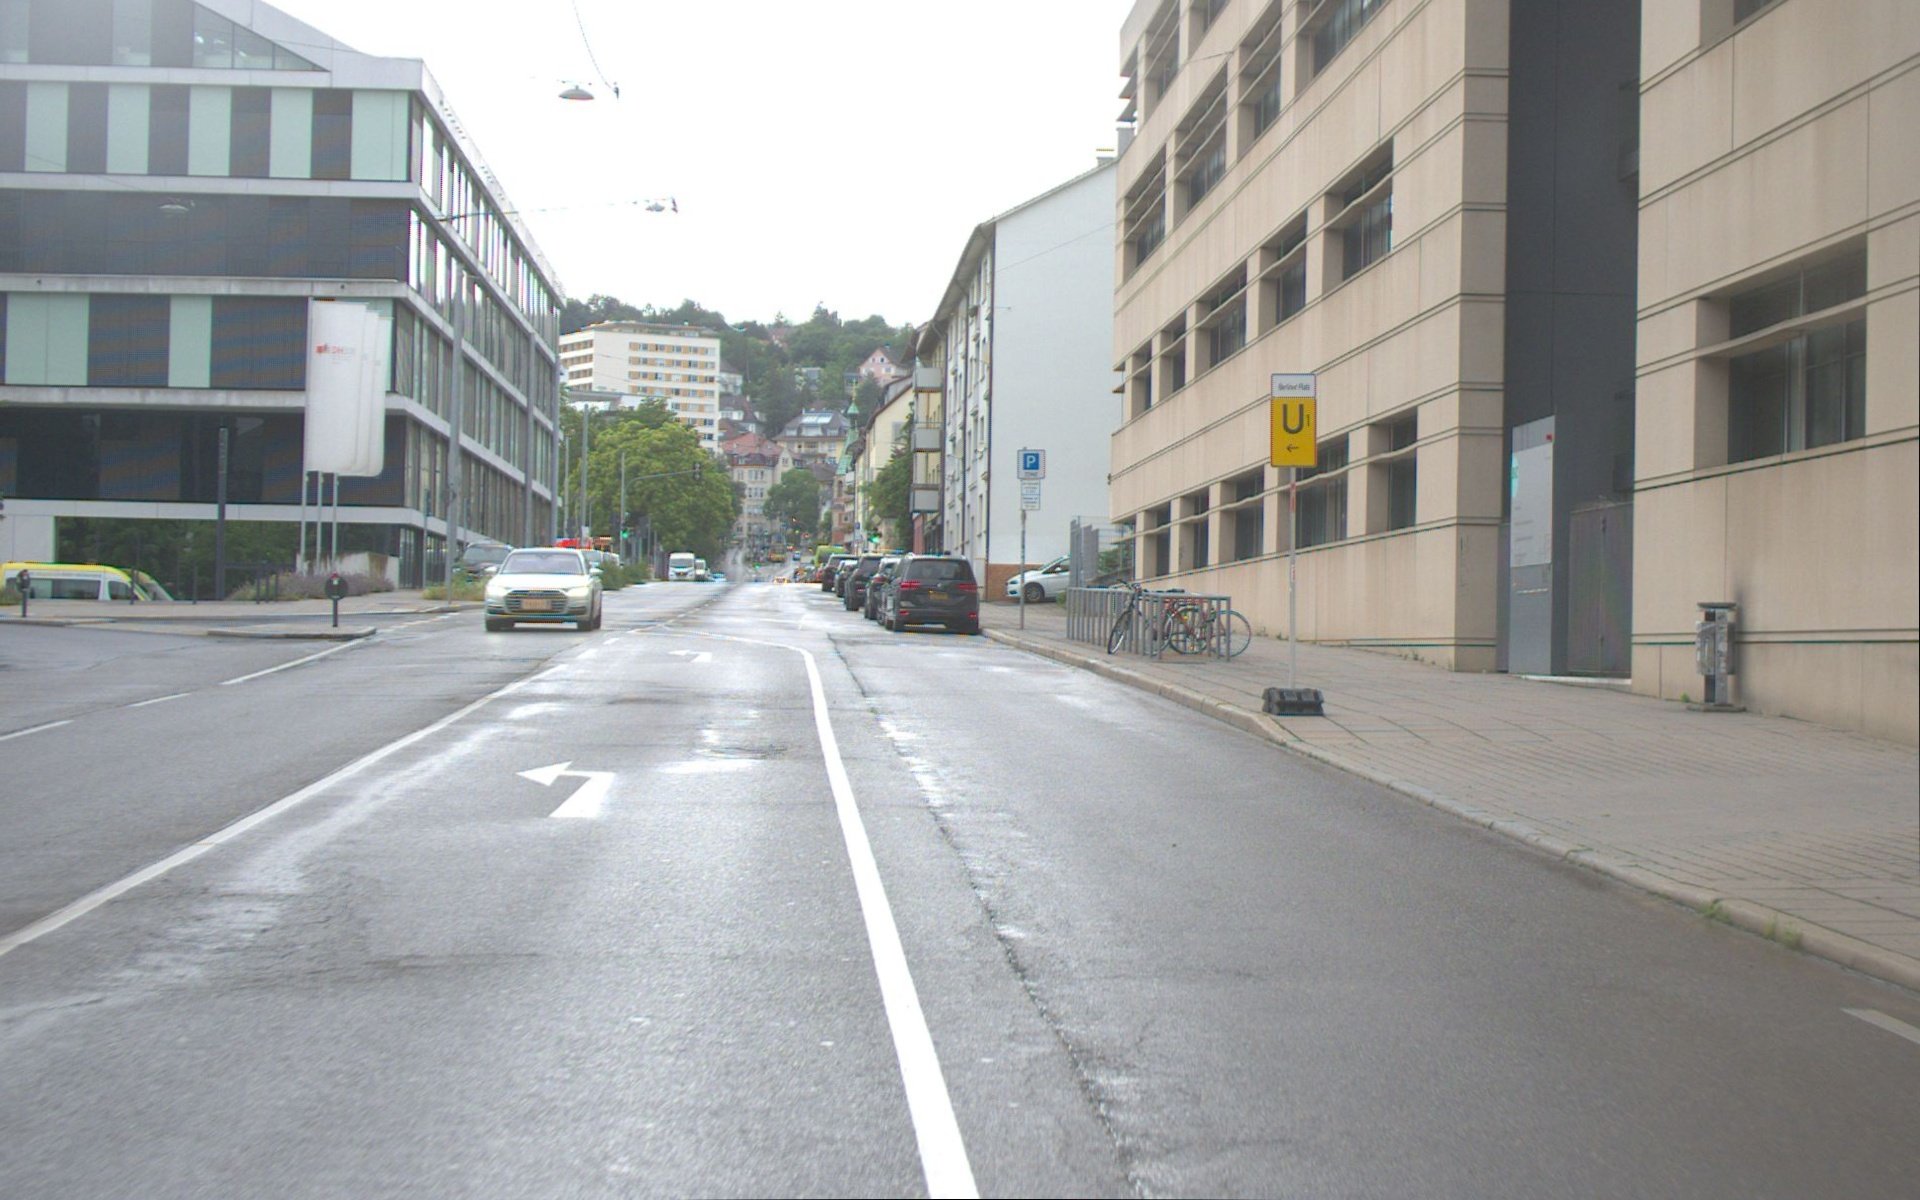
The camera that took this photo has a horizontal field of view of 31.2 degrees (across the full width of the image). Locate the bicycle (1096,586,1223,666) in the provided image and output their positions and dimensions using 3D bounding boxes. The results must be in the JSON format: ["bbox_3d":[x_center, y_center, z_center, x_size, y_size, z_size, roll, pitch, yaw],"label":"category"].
[{"bbox_3d":[2.907,0.375,50.188,1.729,1.115,0.660,2,0,-8],"label":"bicycle"}]

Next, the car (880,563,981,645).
[{"bbox_3d":[-0.655,0.079,73.023,1.771,1.598,4.395,2,0,-4],"label":"car"}]

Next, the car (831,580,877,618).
[{"bbox_3d":[-4.313,-0.046,139.860,1.706,1.449,3.985,2,0,-3],"label":"car"}]

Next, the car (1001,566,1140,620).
[{"bbox_3d":[3.659,-0.230,114.529,4.437,1.707,1.905,-1,0,-3],"label":"car"}]

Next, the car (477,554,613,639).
[{"bbox_3d":[-7.532,-0.086,62.824,1.881,1.486,5.220,0,1,-1],"label":"car"}]

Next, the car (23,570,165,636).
[{"bbox_3d":[-29.205,0.105,116.031,4.341,2.025,1.598,2,0,-3],"label":"car"}]

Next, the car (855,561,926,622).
[{"bbox_3d":[-2.163,-0.248,105.445,1.935,1.744,4.797,2,0,-3],"label":"car"}]

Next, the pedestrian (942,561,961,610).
[{"bbox_3d":[-0.327,-0.560,133.935,0.639,1.864,0.538,2,-1,-1],"label":"pedestrian"}]

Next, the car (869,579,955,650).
[{"bbox_3d":[-1.154,0.353,81.161,1.725,1.507,4.058,4,-1,-4],"label":"car"}]

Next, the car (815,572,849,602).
[{"bbox_3d":[-7.903,-0.805,212.070,1.867,1.764,4.189,2,0,0],"label":"car"}]

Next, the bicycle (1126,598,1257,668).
[{"bbox_3d":[3.310,0.468,49.226,1.758,0.950,0.660,2,0,-6],"label":"bicycle"}]

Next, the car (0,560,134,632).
[{"bbox_3d":[-29.378,-0.142,111.941,4.589,2.167,1.932,3,0,-9],"label":"car"}]

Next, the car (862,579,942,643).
[{"bbox_3d":[-1.516,0.279,88.466,1.743,1.528,4.320,3,0,-4],"label":"car"}]

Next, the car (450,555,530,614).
[{"bbox_3d":[-13.688,-0.448,100.328,1.849,1.612,4.491,2,0,-3],"label":"car"}]
